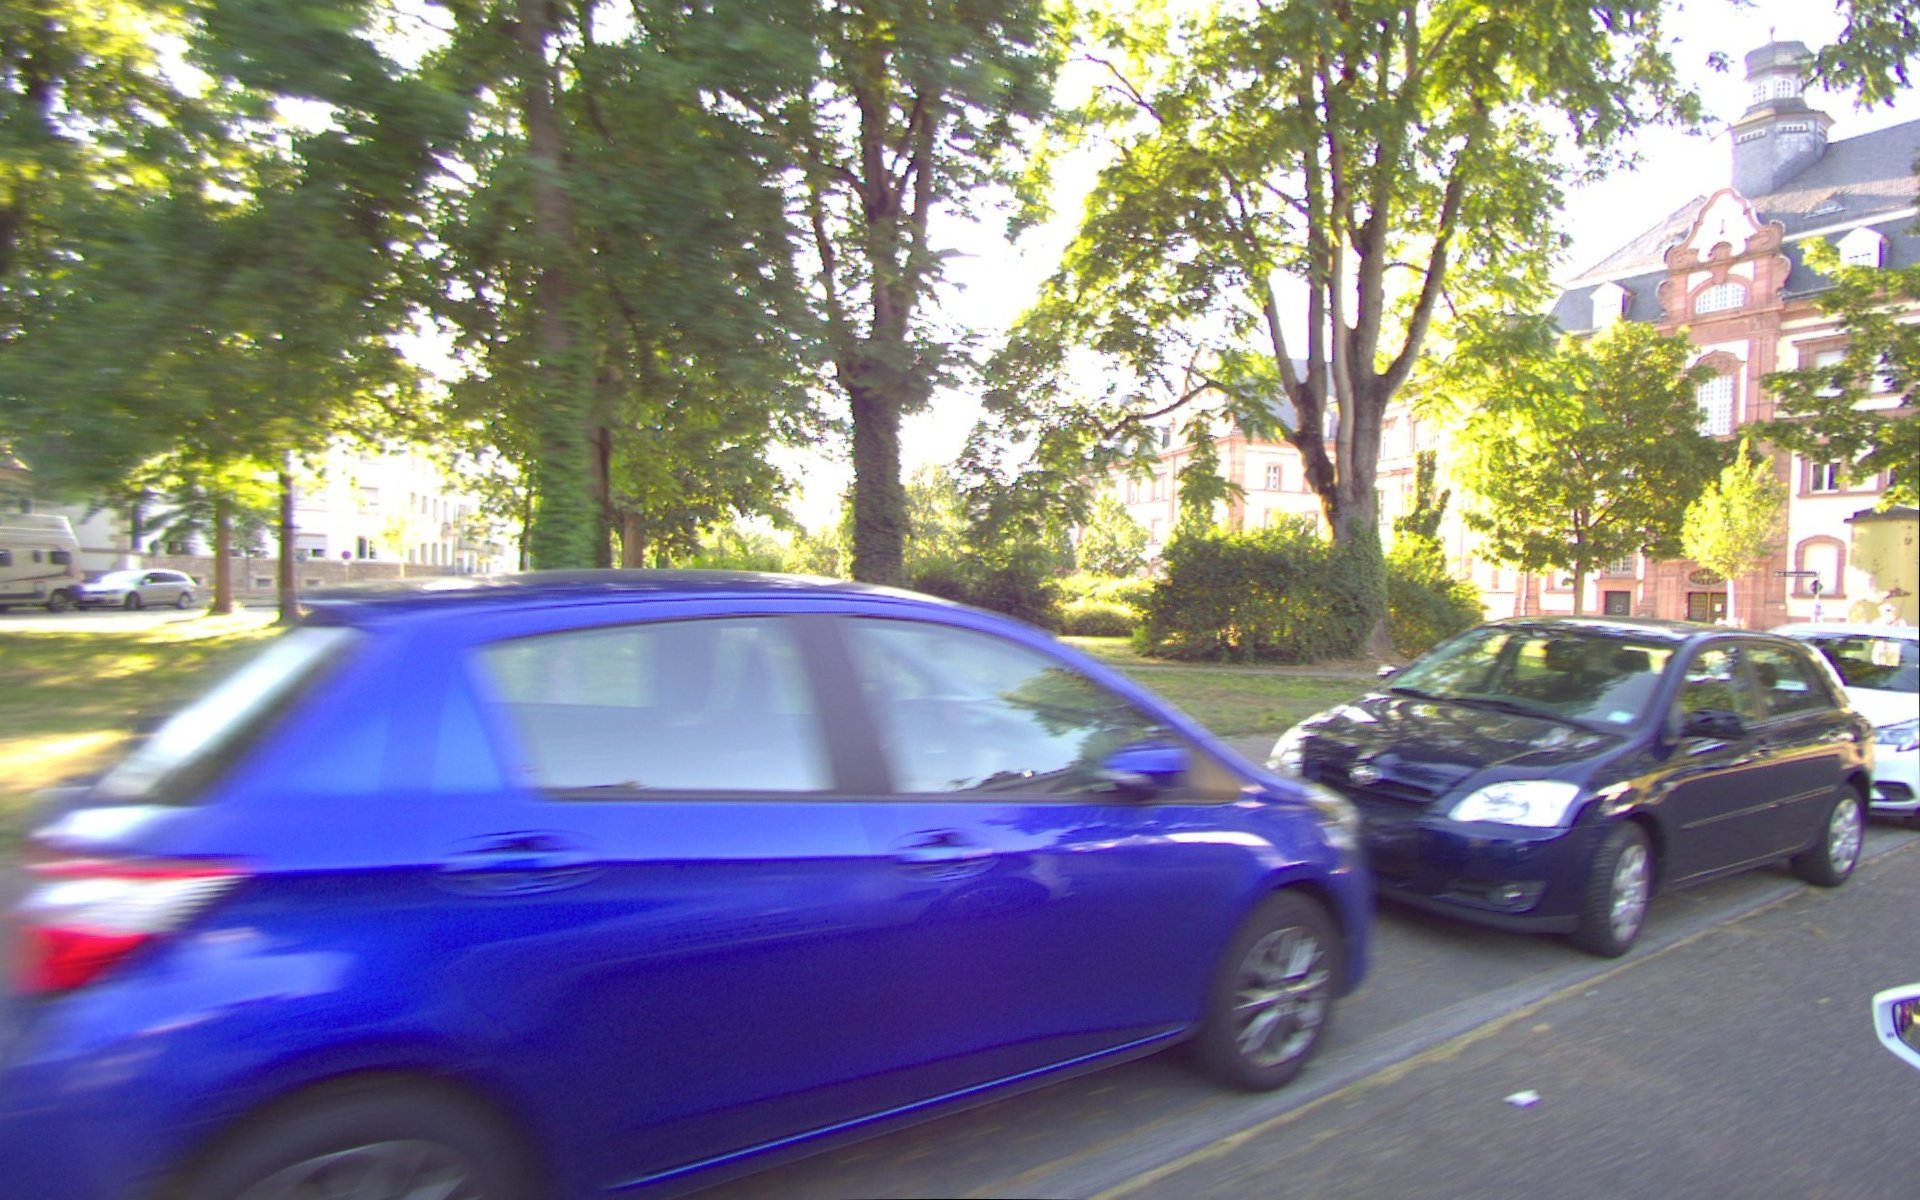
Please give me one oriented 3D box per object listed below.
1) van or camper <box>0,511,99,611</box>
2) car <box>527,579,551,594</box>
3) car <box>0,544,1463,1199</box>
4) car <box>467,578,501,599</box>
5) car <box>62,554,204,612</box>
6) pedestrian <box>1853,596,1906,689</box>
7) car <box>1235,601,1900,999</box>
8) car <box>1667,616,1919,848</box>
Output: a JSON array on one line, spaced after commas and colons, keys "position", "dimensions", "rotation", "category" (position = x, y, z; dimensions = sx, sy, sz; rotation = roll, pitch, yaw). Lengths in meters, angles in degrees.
[{"position": [-29.422, -1.183, 30.012], "dimensions": [2.056, 2.947, 6.330], "rotation": [2, 1, -2], "category": "van or camper"}, {"position": [-42.369, -1.353, 101.121], "dimensions": [1.658, 1.432, 3.865], "rotation": [2, 1, -15], "category": "car"}, {"position": [-0.274, 0.689, 3.104], "dimensions": [3.667, 1.516, 1.628], "rotation": [1, 3, -34], "category": "car"}, {"position": [-35.480, -0.882, 74.869], "dimensions": [1.489, 1.466, 3.398], "rotation": [2, 1, -12], "category": "car"}, {"position": [-29.414, -0.587, 35.907], "dimensions": [1.822, 1.911, 4.140], "rotation": [2, 1, -5], "category": "car"}, {"position": [18.434, 0.842, 20.135], "dimensions": [0.938, 1.808, 0.594], "rotation": [1, 1, -38], "category": "pedestrian"}, {"position": [3.500, 0.821, 5.594], "dimensions": [3.898, 1.514, 1.543], "rotation": [1, 1, -32], "category": "car"}, {"position": [7.775, 0.955, 8.650], "dimensions": [3.828, 1.546, 1.581], "rotation": [1, 1, -36], "category": "car"}]
